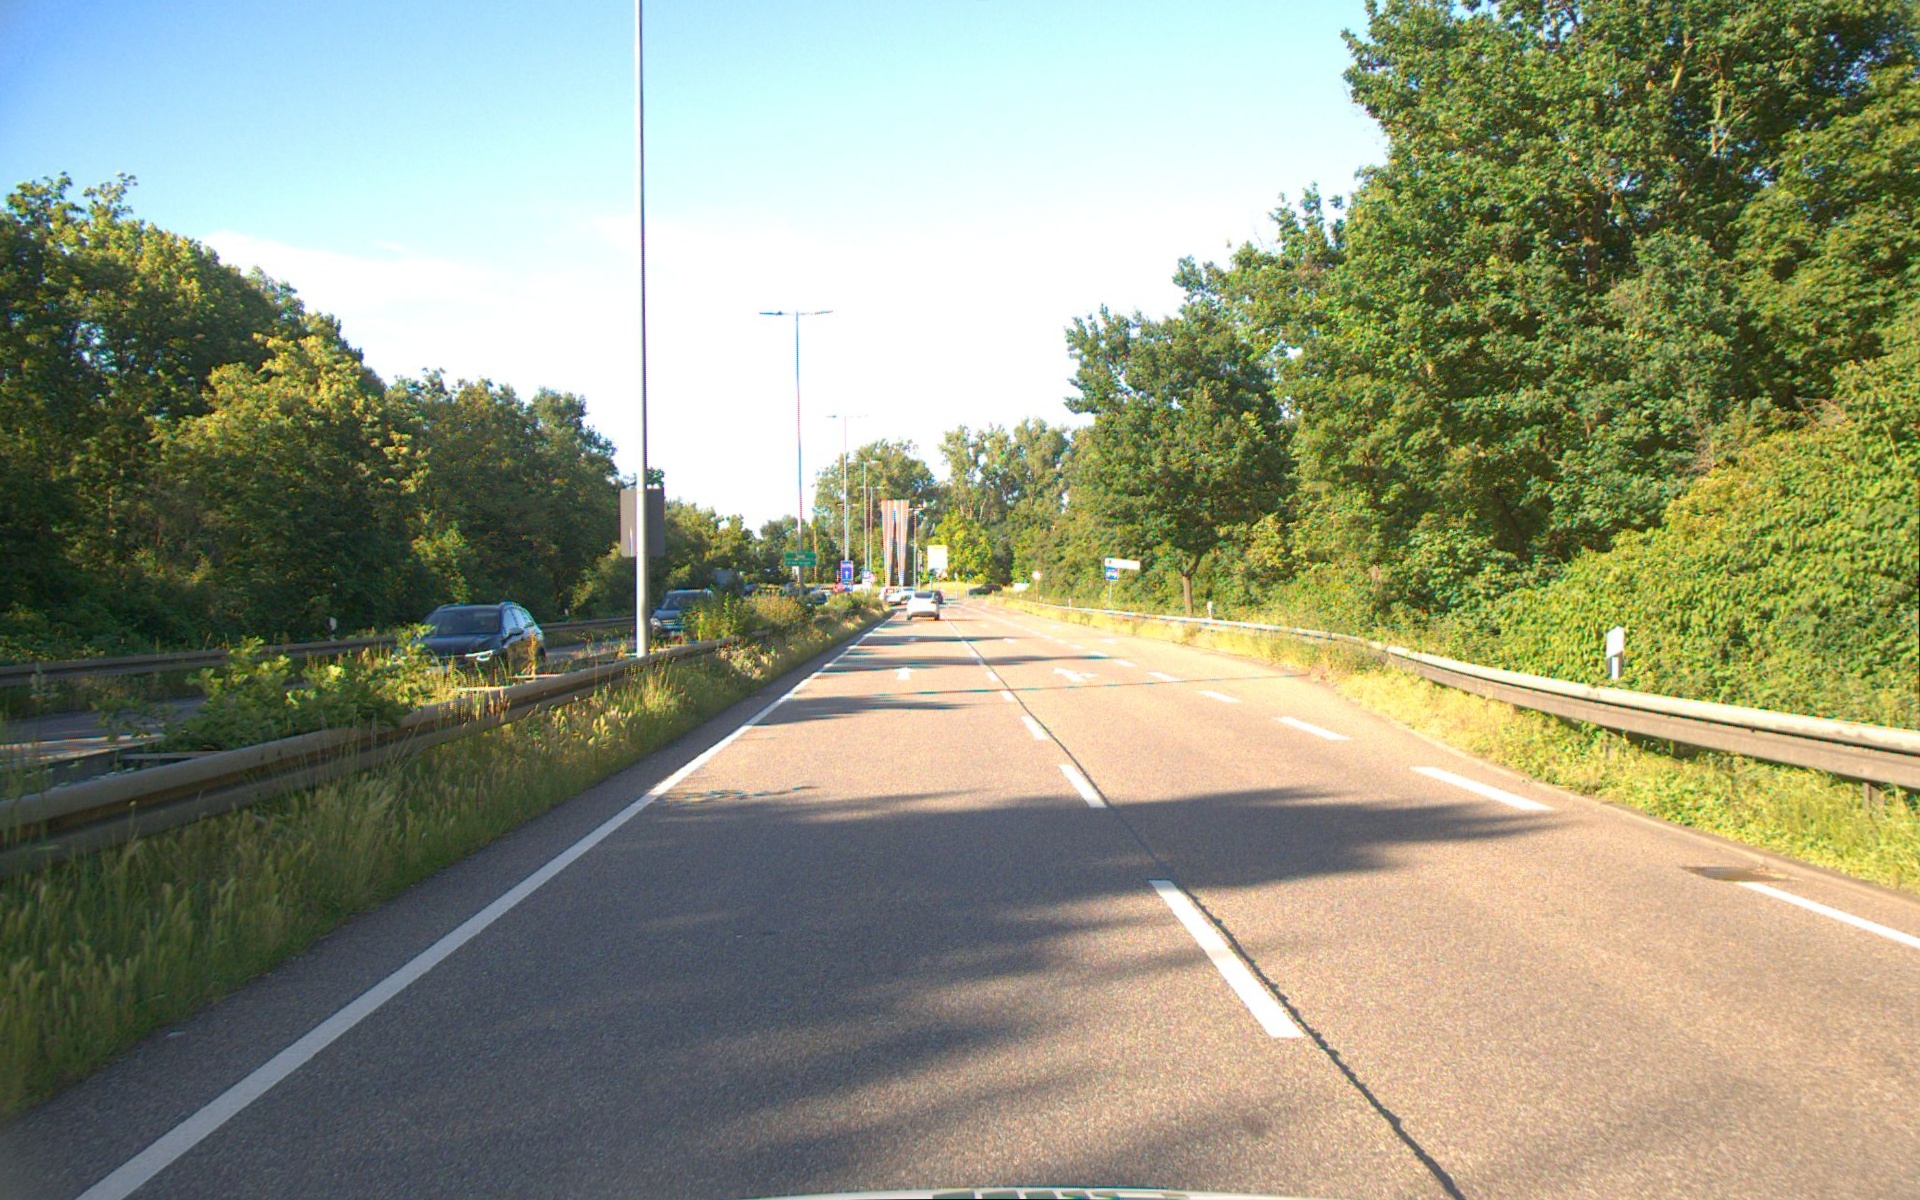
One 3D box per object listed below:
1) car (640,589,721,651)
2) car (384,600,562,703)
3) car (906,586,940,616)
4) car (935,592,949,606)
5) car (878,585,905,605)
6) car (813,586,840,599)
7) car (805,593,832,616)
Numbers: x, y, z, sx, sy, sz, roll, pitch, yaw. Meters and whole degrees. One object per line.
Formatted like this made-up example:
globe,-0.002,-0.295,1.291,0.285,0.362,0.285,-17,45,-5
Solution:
car,-8.565,0.583,51.035,1.804,1.788,4.710,-1,0,-1
car,-8.097,0.796,27.906,1.585,1.557,4.608,-1,0,0
car,-2.178,0.049,97.281,1.953,1.668,4.127,-1,1,-2
car,-1.800,-0.099,166.804,1.360,1.303,2.986,2,-1,-2
car,-7.006,-0.521,169.281,1.960,1.912,4.233,-1,1,-14
car,-16.326,-0.858,202.291,2.234,1.534,3.974,-1,0,-21
car,-11.022,0.340,128.911,1.749,1.740,4.545,-1,0,-2
